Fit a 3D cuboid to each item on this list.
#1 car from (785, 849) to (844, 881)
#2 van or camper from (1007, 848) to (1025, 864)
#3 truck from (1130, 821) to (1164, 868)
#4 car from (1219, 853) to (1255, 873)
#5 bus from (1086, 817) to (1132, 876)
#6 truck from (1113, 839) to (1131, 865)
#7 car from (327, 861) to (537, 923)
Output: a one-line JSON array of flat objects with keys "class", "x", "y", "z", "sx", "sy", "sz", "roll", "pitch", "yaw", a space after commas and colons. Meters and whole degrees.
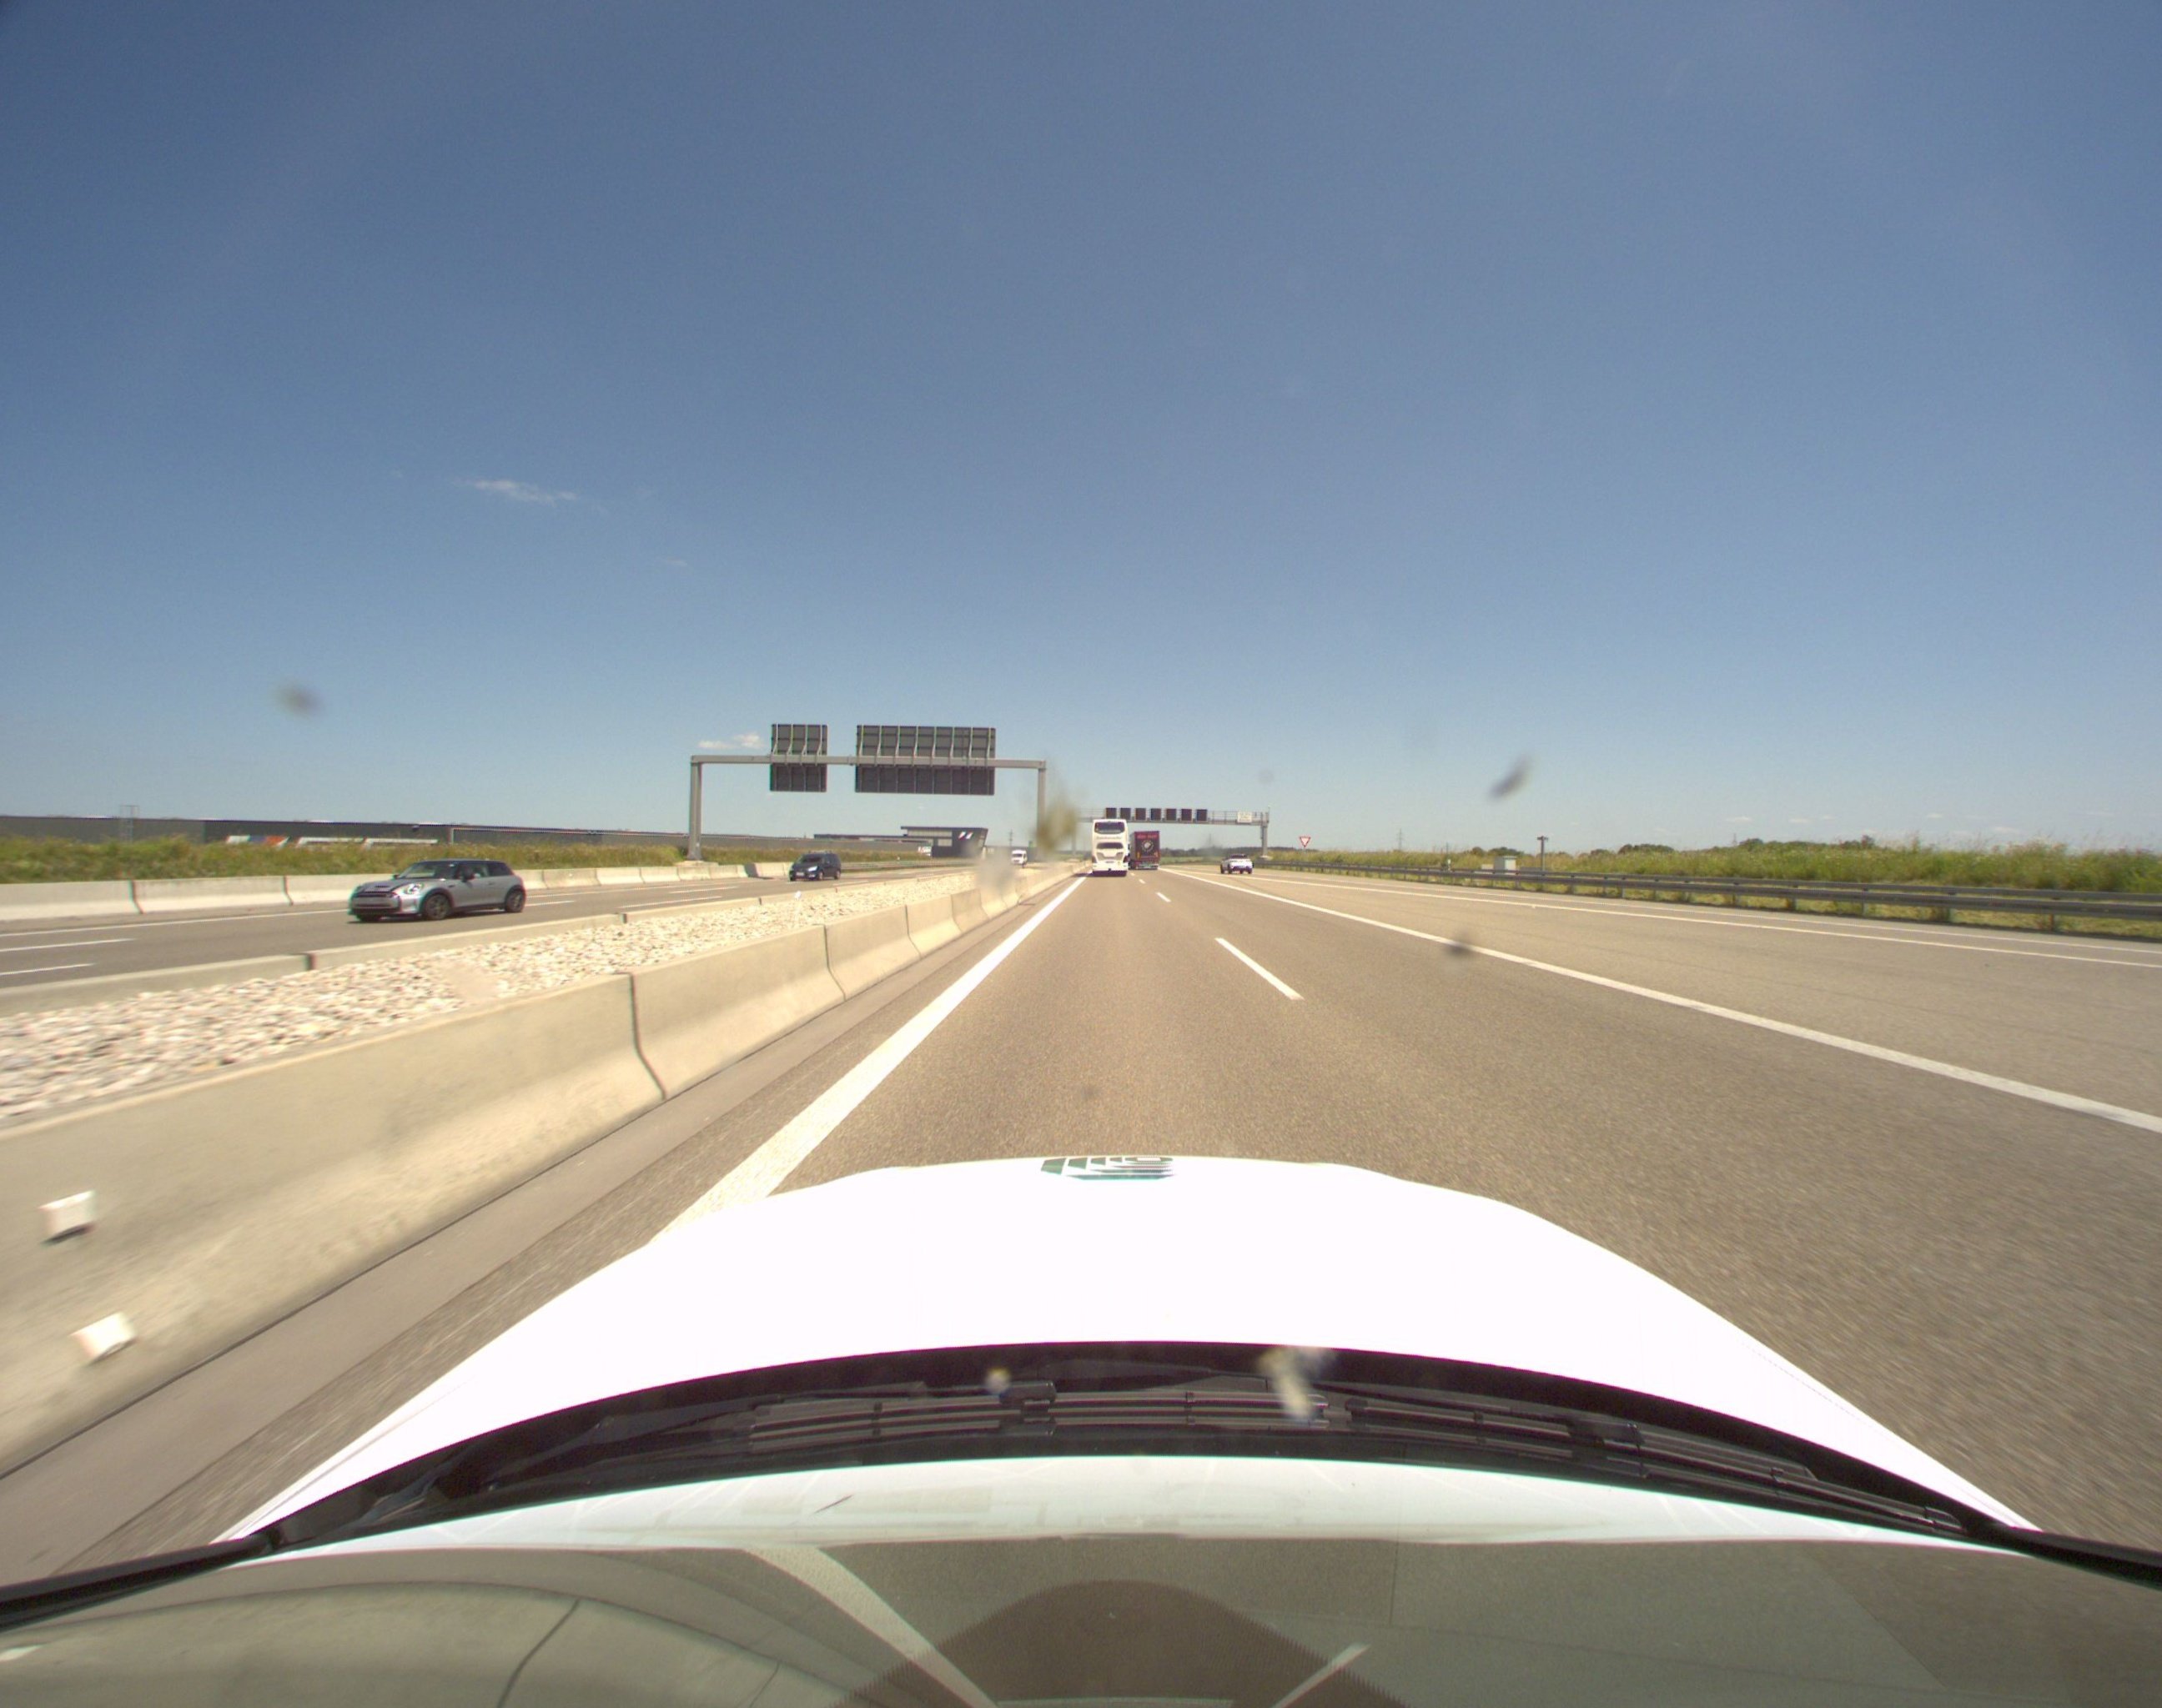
[{"class": "car", "x": -15.976, "y": 0.630, "z": 49.095, "sx": 1.840, "sy": 1.823, "sz": 4.922, "roll": 0, "pitch": 0, "yaw": 1}, {"class": "van or camper", "x": -10.917, "y": 0.371, "z": 137.197, "sx": 2.311, "sy": 2.558, "sz": 6.317, "roll": 0, "pitch": 0, "yaw": 1}, {"class": "truck", "x": 7.104, "y": -0.857, "z": 89.348, "sx": 3.365, "sy": 4.464, "sz": 13.577, "roll": 0, "pitch": -2, "yaw": 3}, {"class": "car", "x": 12.155, "y": 0.690, "z": 63.732, "sx": 1.886, "sy": 1.529, "sz": 4.259, "roll": 0, "pitch": 0, "yaw": -2}, {"class": "bus", "x": 1.940, "y": -0.578, "z": 60.359, "sx": 2.971, "sy": 3.974, "sz": 9.102, "roll": 0, "pitch": 1, "yaw": -1}, {"class": "truck", "x": 6.296, "y": -0.307, "z": 125.583, "sx": 2.429, "sy": 3.789, "sz": 6.494, "roll": 0, "pitch": 0, "yaw": 1}, {"class": "car", "x": -15.590, "y": 0.856, "z": 19.880, "sx": 1.884, "sy": 1.329, "sz": 3.986, "roll": 0, "pitch": 0, "yaw": 1}]
